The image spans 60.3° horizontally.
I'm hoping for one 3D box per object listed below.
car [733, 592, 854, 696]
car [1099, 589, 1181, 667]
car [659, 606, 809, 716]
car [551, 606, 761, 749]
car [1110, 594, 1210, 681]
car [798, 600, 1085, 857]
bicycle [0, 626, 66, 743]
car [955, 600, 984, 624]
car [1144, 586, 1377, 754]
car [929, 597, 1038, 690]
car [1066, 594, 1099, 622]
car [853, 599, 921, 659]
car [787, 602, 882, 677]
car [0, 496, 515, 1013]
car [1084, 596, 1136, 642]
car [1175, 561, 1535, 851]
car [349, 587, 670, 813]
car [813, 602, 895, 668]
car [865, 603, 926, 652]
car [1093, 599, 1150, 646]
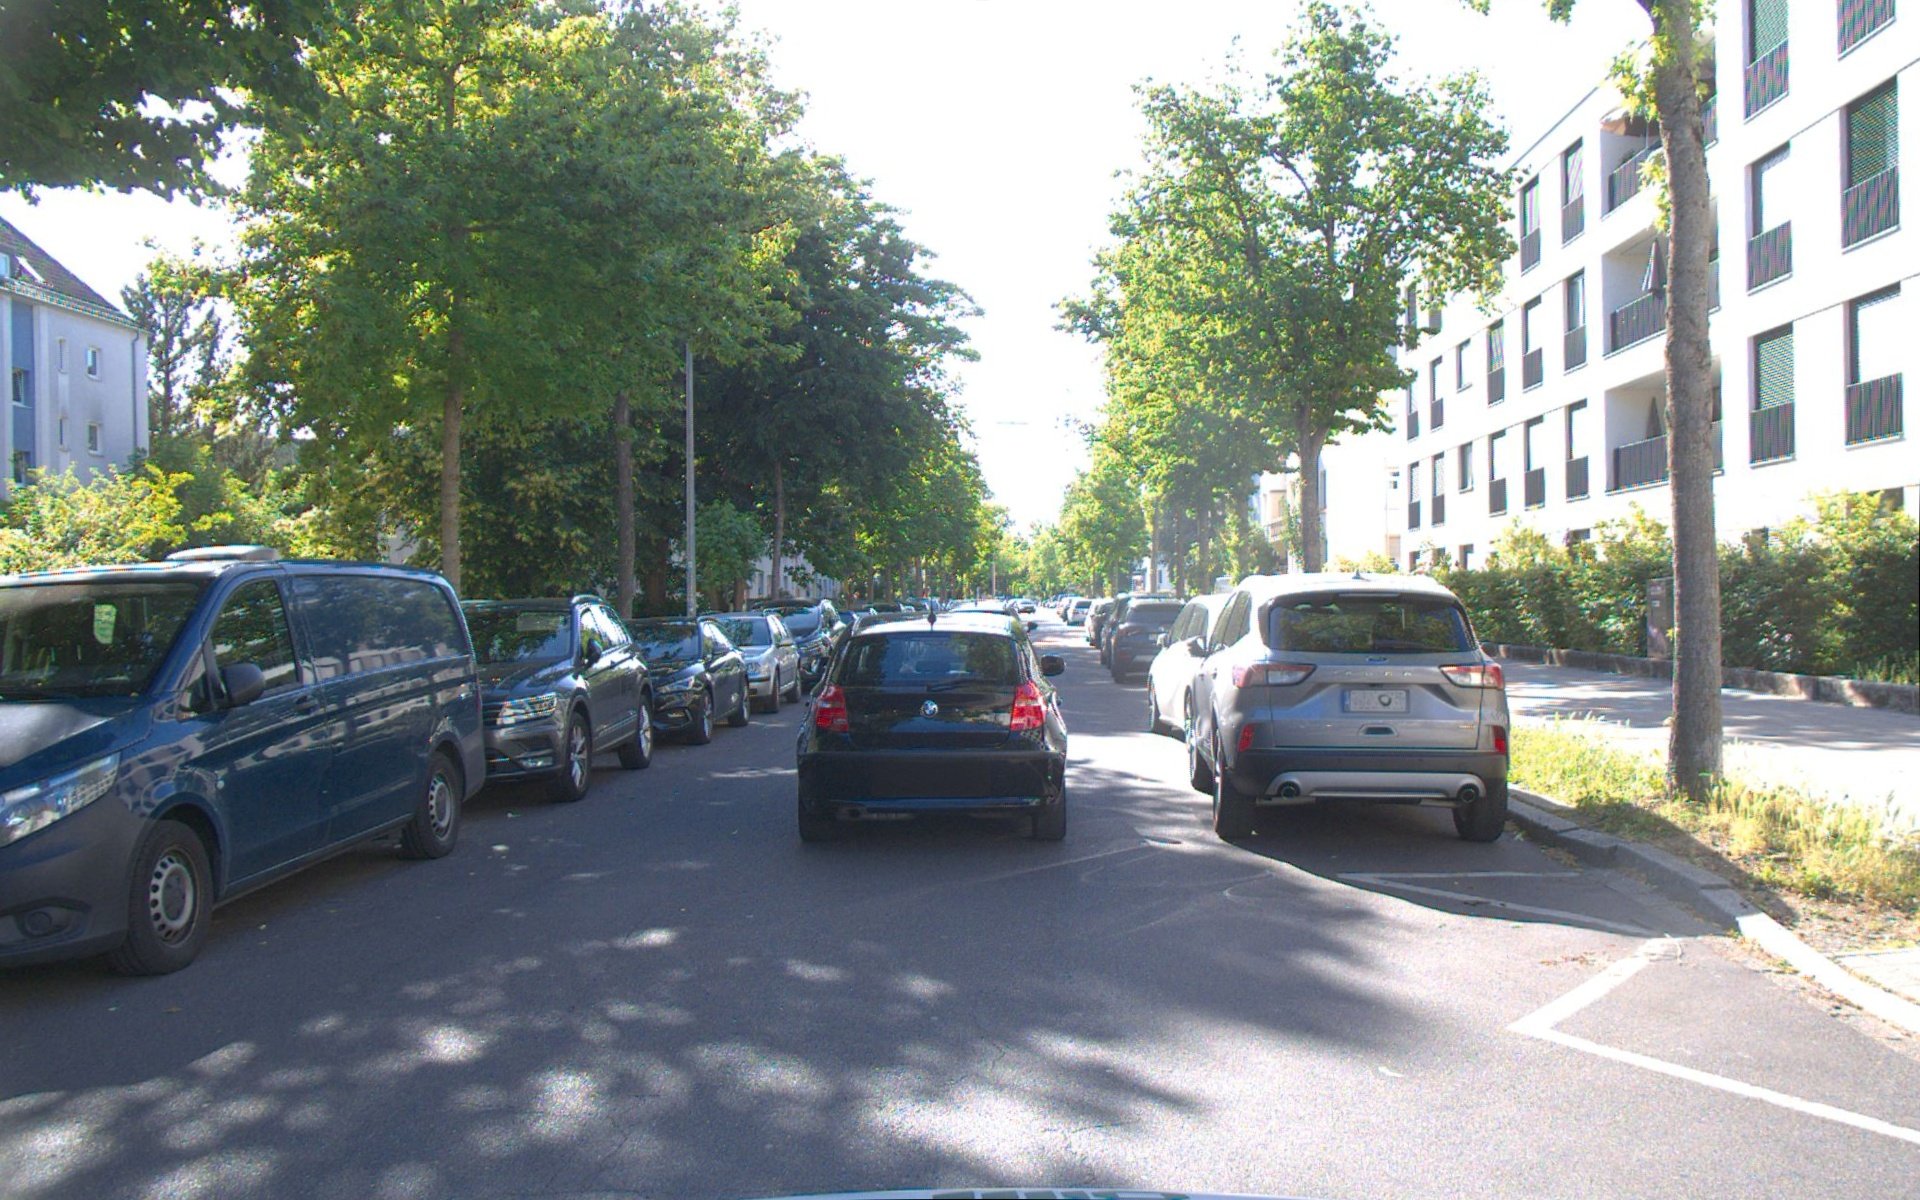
[{"bbox_3d":[-2.978,0.755,30.426,1.579,1.708,4.235,-2,0,2],"label":"car"},{"bbox_3d":[4.072,0.606,37.845,1.685,1.669,3.853,1,0,4],"label":"car"},{"bbox_3d":[-3.330,0.861,24.994,1.579,1.452,3.727,-2,0,2],"label":"car"},{"bbox_3d":[-3.529,0.847,19.901,1.579,1.452,4.059,-2,0,2],"label":"car"},{"bbox_3d":[3.796,0.672,31.841,1.685,1.555,4.002,1,0,4],"label":"car"},{"bbox_3d":[-0.176,0.740,11.274,1.616,1.421,3.410,-2,0,-3],"label":"car"},{"bbox_3d":[-10.959,0.934,17.896,2.105,1.230,0.689,-2,0,-8],"label":"bicycle"},{"bbox_3d":[0.606,0.719,100.935,1.579,1.416,3.867,-2,0,2],"label":"car"},{"bbox_3d":[3.025,0.652,17.419,1.659,1.550,3.999,0,0,-1],"label":"car"},{"bbox_3d":[0.469,0.701,28.834,1.614,1.450,4.003,-2,0,4],"label":"car"},{"bbox_3d":[6.902,0.442,92.996,1.684,1.506,3.854,-2,0,6],"label":"car"},{"bbox_3d":[-2.070,0.798,47.636,1.579,1.570,3.867,-2,0,2],"label":"car"},{"bbox_3d":[-2.682,0.825,36.124,1.579,1.478,3.867,-2,0,2],"label":"car"},{"bbox_3d":[-4.146,0.614,8.843,1.788,1.937,5.144,-3,0,4],"label":"car"},{"bbox_3d":[5.201,0.629,57.727,1.685,1.506,3.853,1,0,4],"label":"car"},{"bbox_3d":[2.553,0.628,11.739,1.809,1.659,4.413,0,0,4],"label":"car"},{"bbox_3d":[-3.771,0.756,14.596,1.579,1.639,4.230,-2,0,1],"label":"car"},{"bbox_3d":[-2.566,0.817,40.737,1.579,1.478,3.867,-2,0,2],"label":"car"},{"bbox_3d":[-2.021,0.840,52.571,1.579,1.416,3.867,-2,0,2],"label":"car"},{"bbox_3d":[5.134,0.682,52.935,1.685,1.403,3.853,1,0,4],"label":"car"}]
